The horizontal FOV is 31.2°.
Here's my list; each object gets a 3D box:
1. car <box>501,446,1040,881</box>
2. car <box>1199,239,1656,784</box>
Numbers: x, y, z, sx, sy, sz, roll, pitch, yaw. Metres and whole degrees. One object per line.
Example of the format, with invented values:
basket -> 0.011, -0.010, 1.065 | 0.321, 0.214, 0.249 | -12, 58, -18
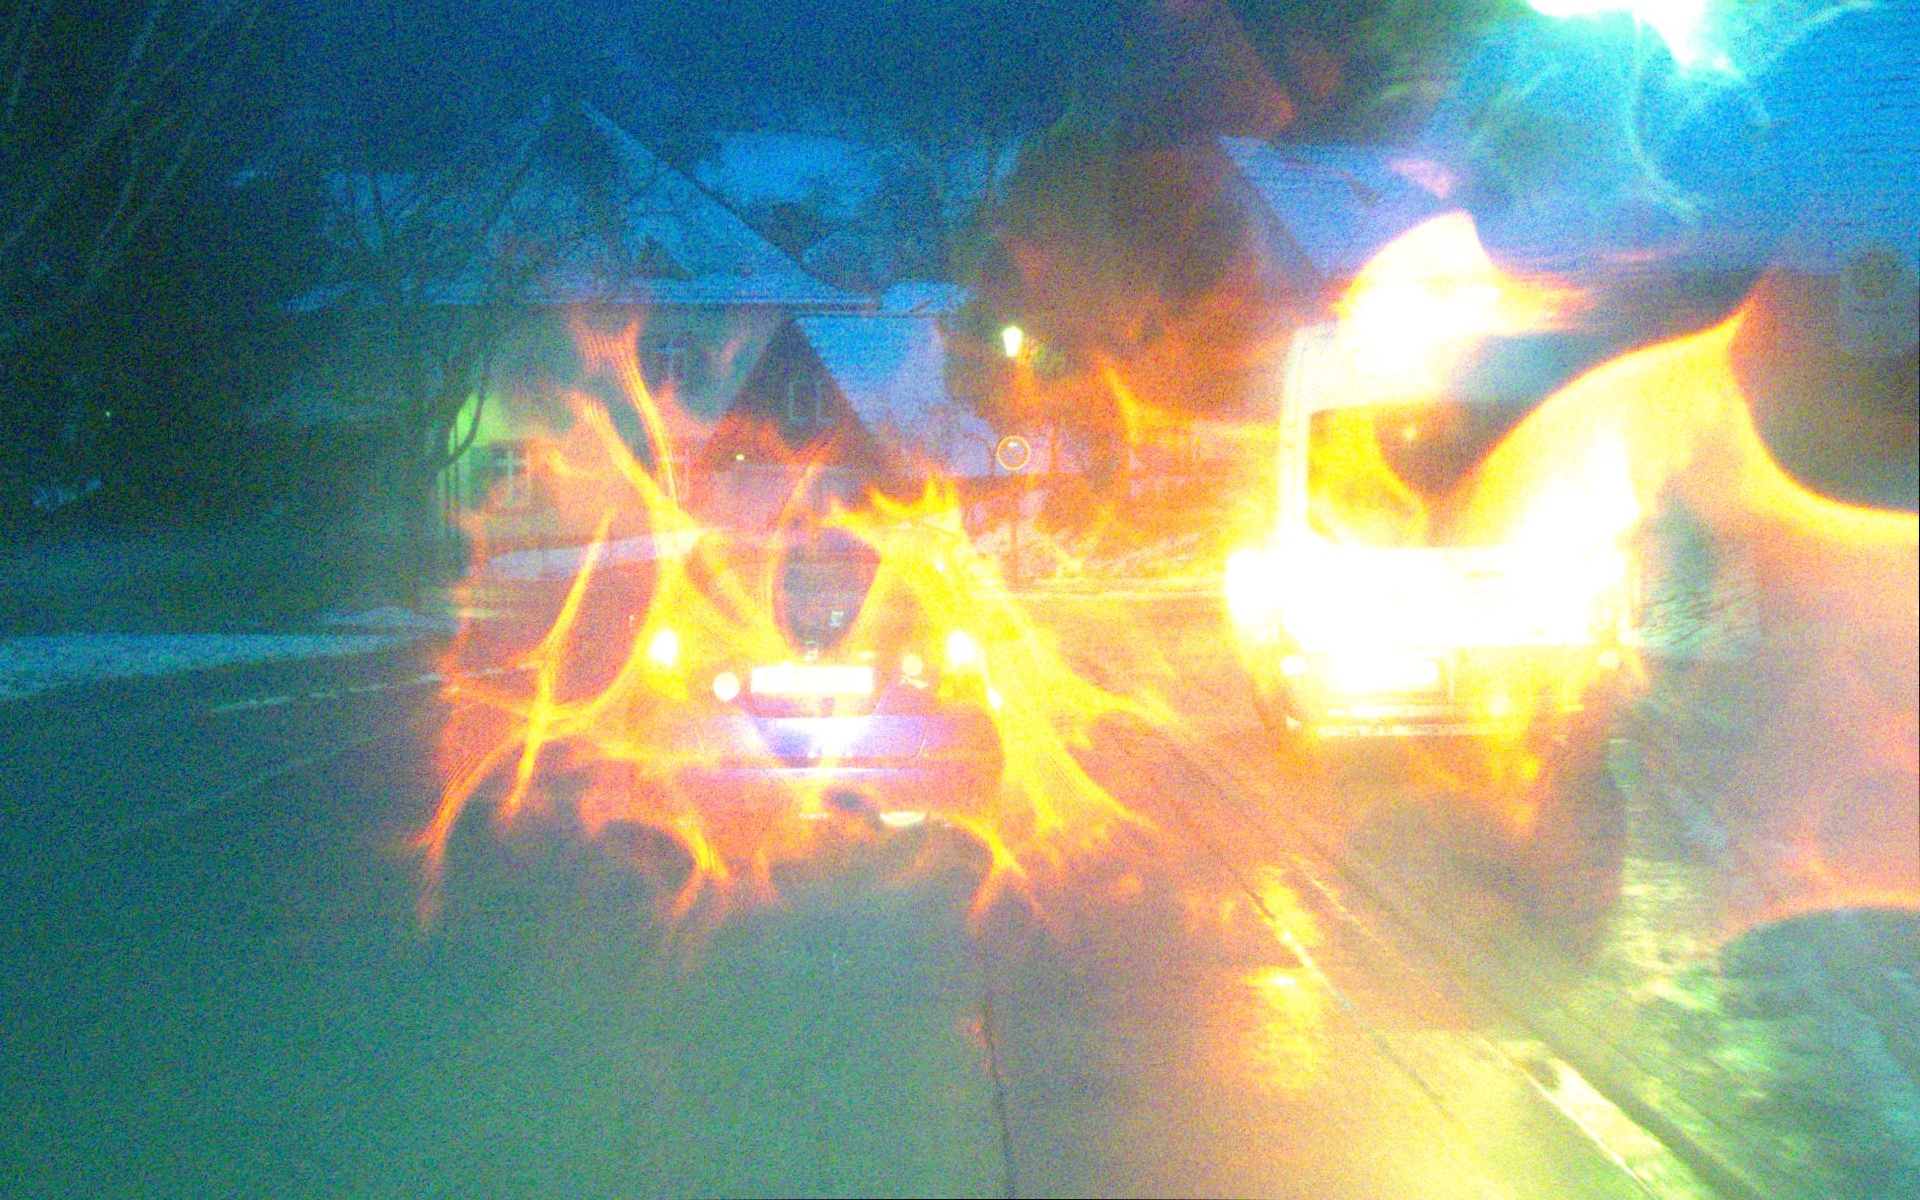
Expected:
car -> -0.850, 0.226, 17.140 | 2.274, 1.834, 5.007 | 1, 1, -1
car -> 2.790, -0.571, 21.832 | 2.435, 3.008, 5.325 | -1, 2, 3
